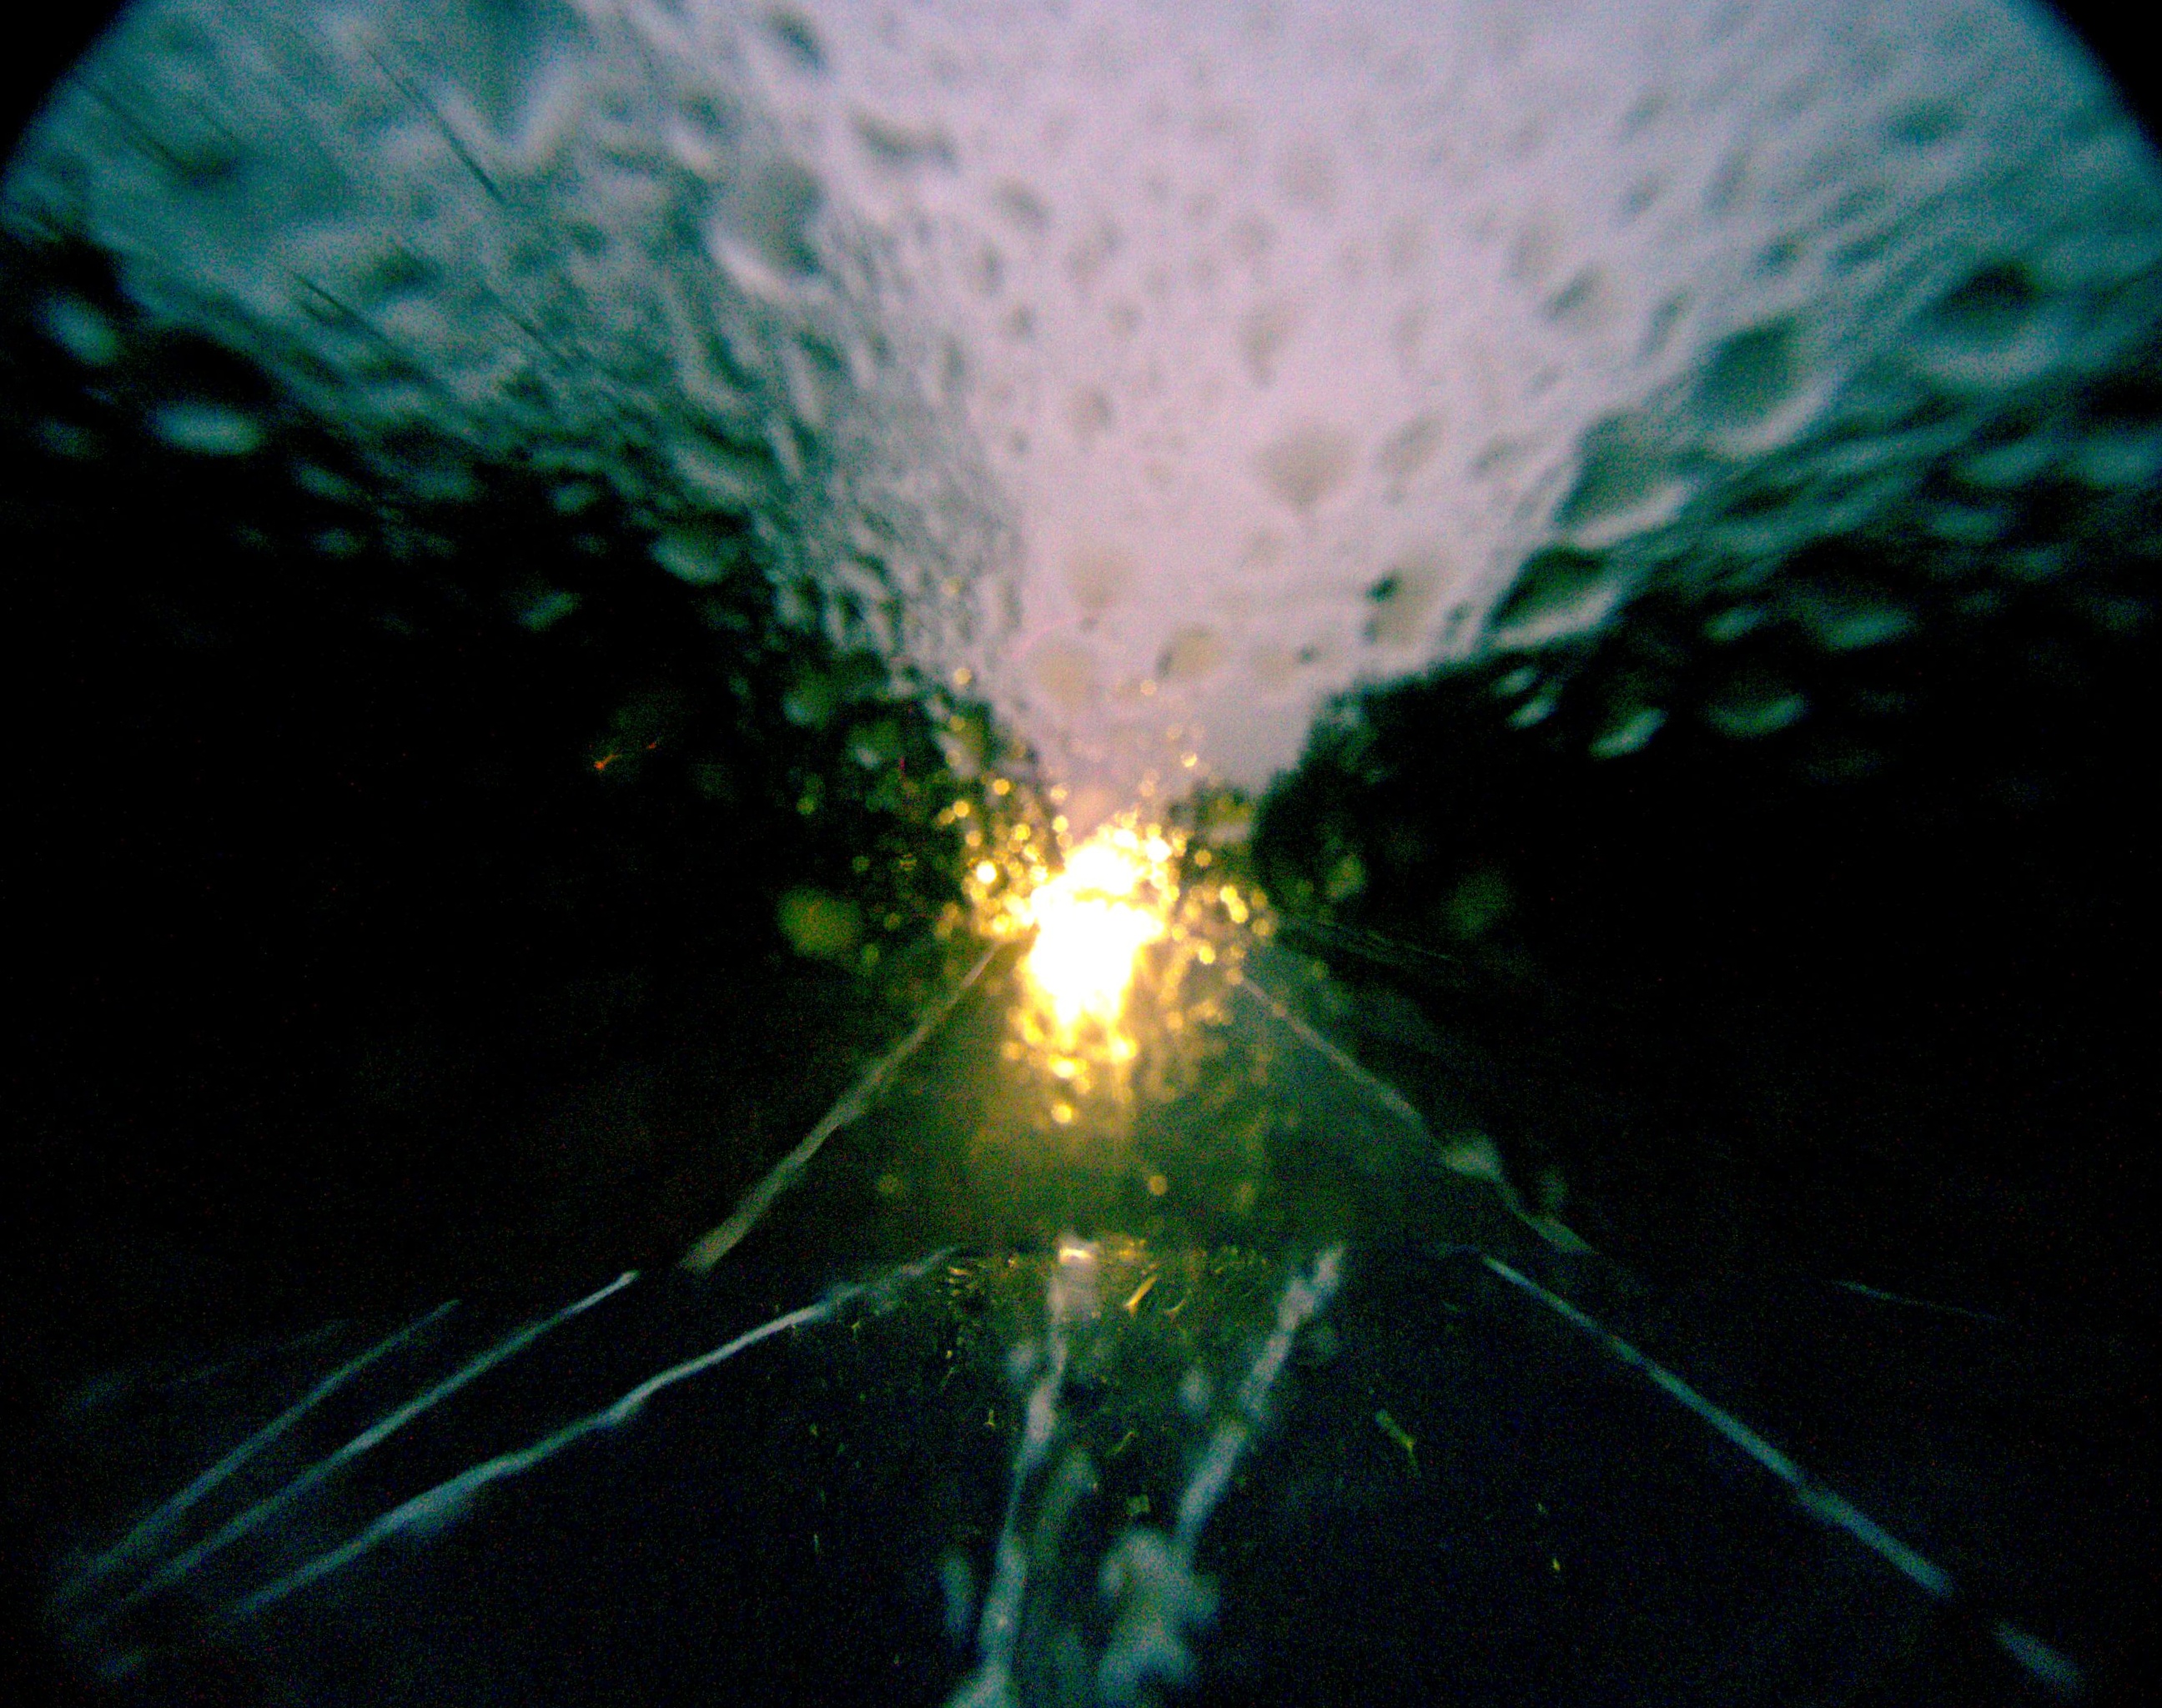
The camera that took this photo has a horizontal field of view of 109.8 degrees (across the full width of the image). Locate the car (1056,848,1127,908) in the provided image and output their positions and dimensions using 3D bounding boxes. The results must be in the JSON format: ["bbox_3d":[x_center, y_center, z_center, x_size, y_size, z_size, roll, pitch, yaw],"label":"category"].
[{"bbox_3d":[0.319,0.713,24.333,1.998,1.672,4.000,-2,0,0],"label":"car"}]
